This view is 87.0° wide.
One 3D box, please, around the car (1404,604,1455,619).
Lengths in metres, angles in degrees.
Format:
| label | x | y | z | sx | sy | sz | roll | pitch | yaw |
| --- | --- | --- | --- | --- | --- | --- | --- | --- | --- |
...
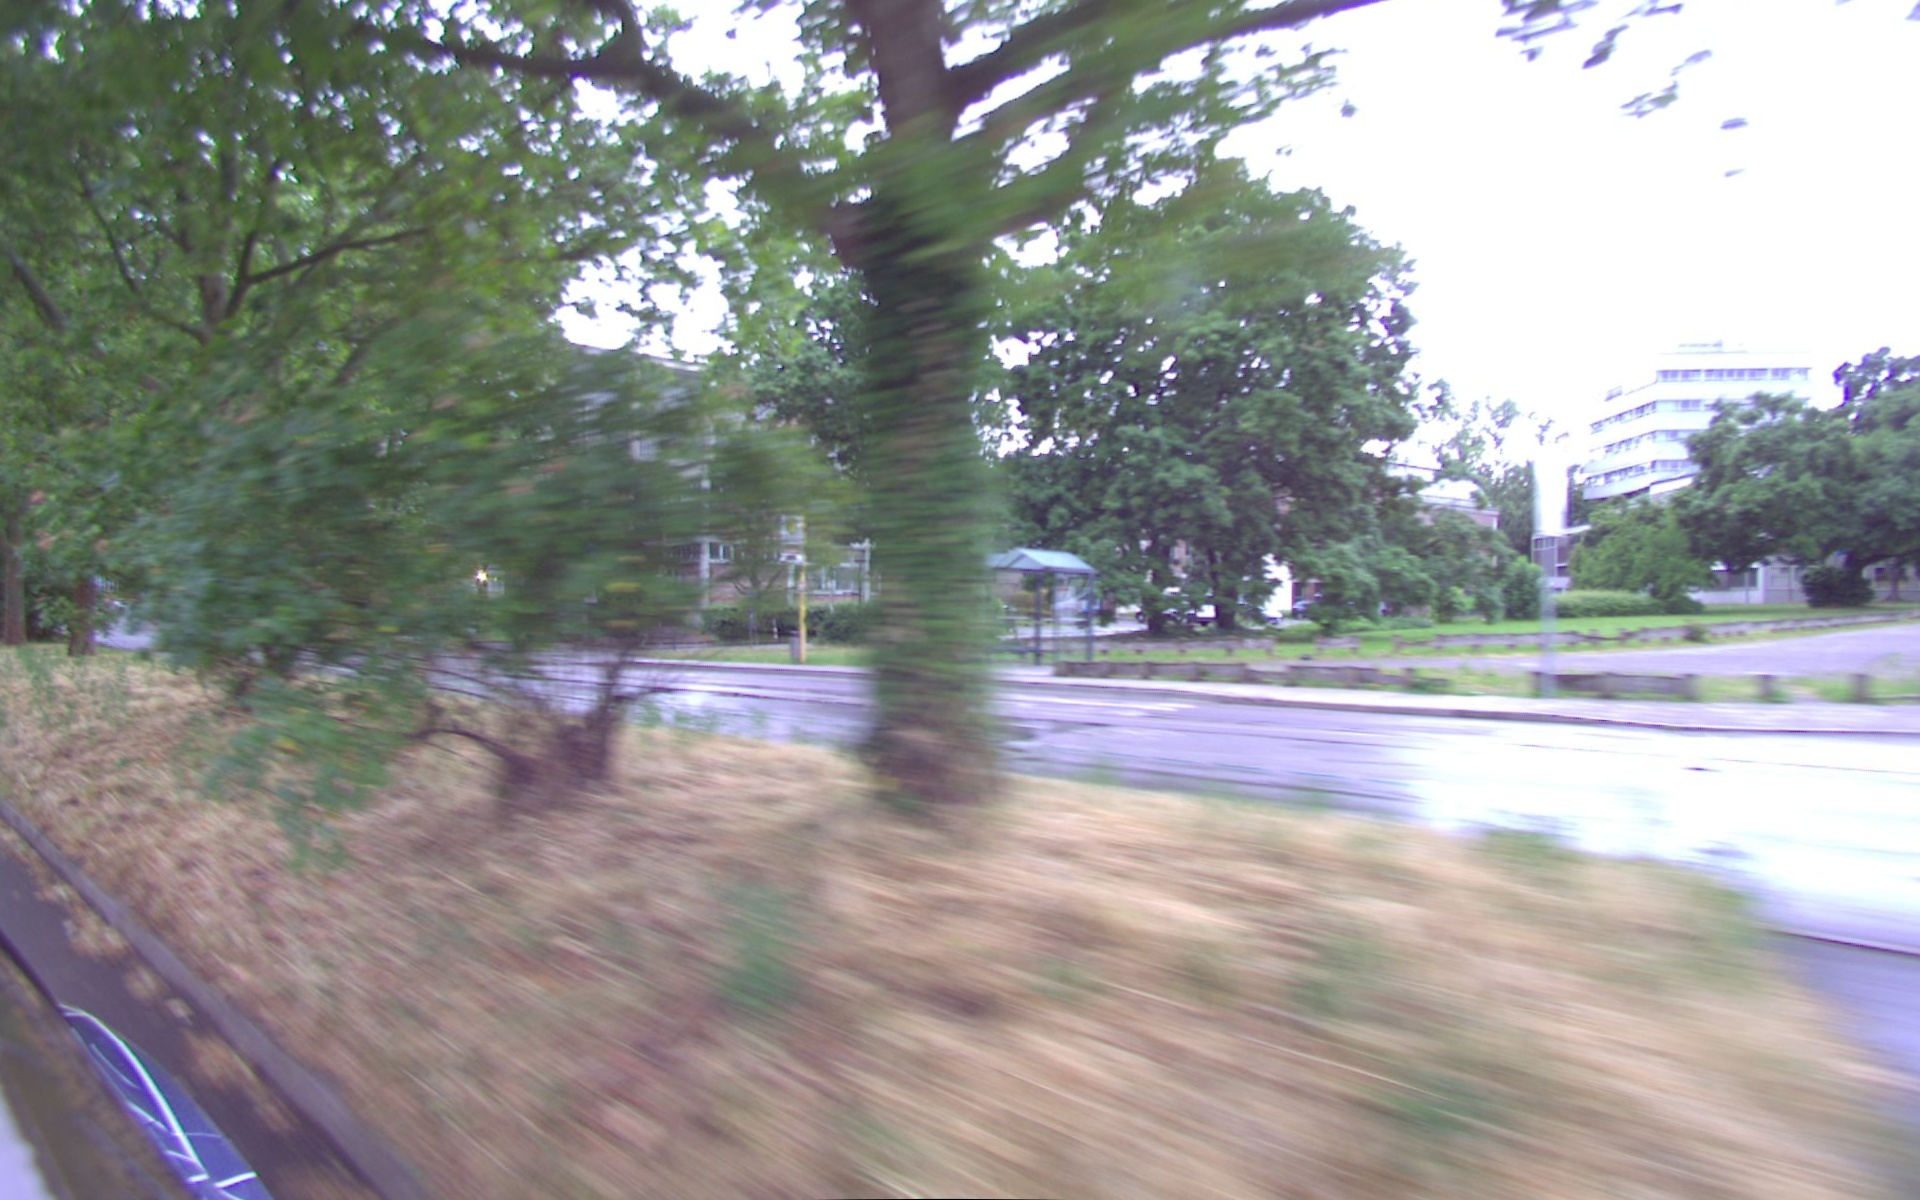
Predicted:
| label | x | y | z | sx | sy | sz | roll | pitch | yaw |
| --- | --- | --- | --- | --- | --- | --- | --- | --- | --- |
| car | 39.636 | 0.992 | 85.476 | 1.566 | 1.151 | 3.564 | -1 | 2 | -36 |

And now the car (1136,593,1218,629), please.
| label | x | y | z | sx | sy | sz | roll | pitch | yaw |
| --- | --- | --- | --- | --- | --- | --- | --- | --- | --- |
| car | 14.261 | 0.676 | 66.685 | 2.251 | 2.195 | 5.091 | -1 | 2 | -36 |

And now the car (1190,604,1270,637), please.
| label | x | y | z | sx | sy | sz | roll | pitch | yaw |
| --- | --- | --- | --- | --- | --- | --- | --- | --- | --- |
| car | 18.682 | 1.379 | 70.164 | 2.250 | 2.090 | 5.092 | -1 | 1 | -35 |

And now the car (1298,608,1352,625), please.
| label | x | y | z | sx | sy | sz | roll | pitch | yaw |
| --- | --- | --- | --- | --- | --- | --- | --- | --- | --- |
| car | 27.725 | 1.265 | 76.974 | 1.566 | 1.151 | 3.564 | -1 | 2 | -36 |
